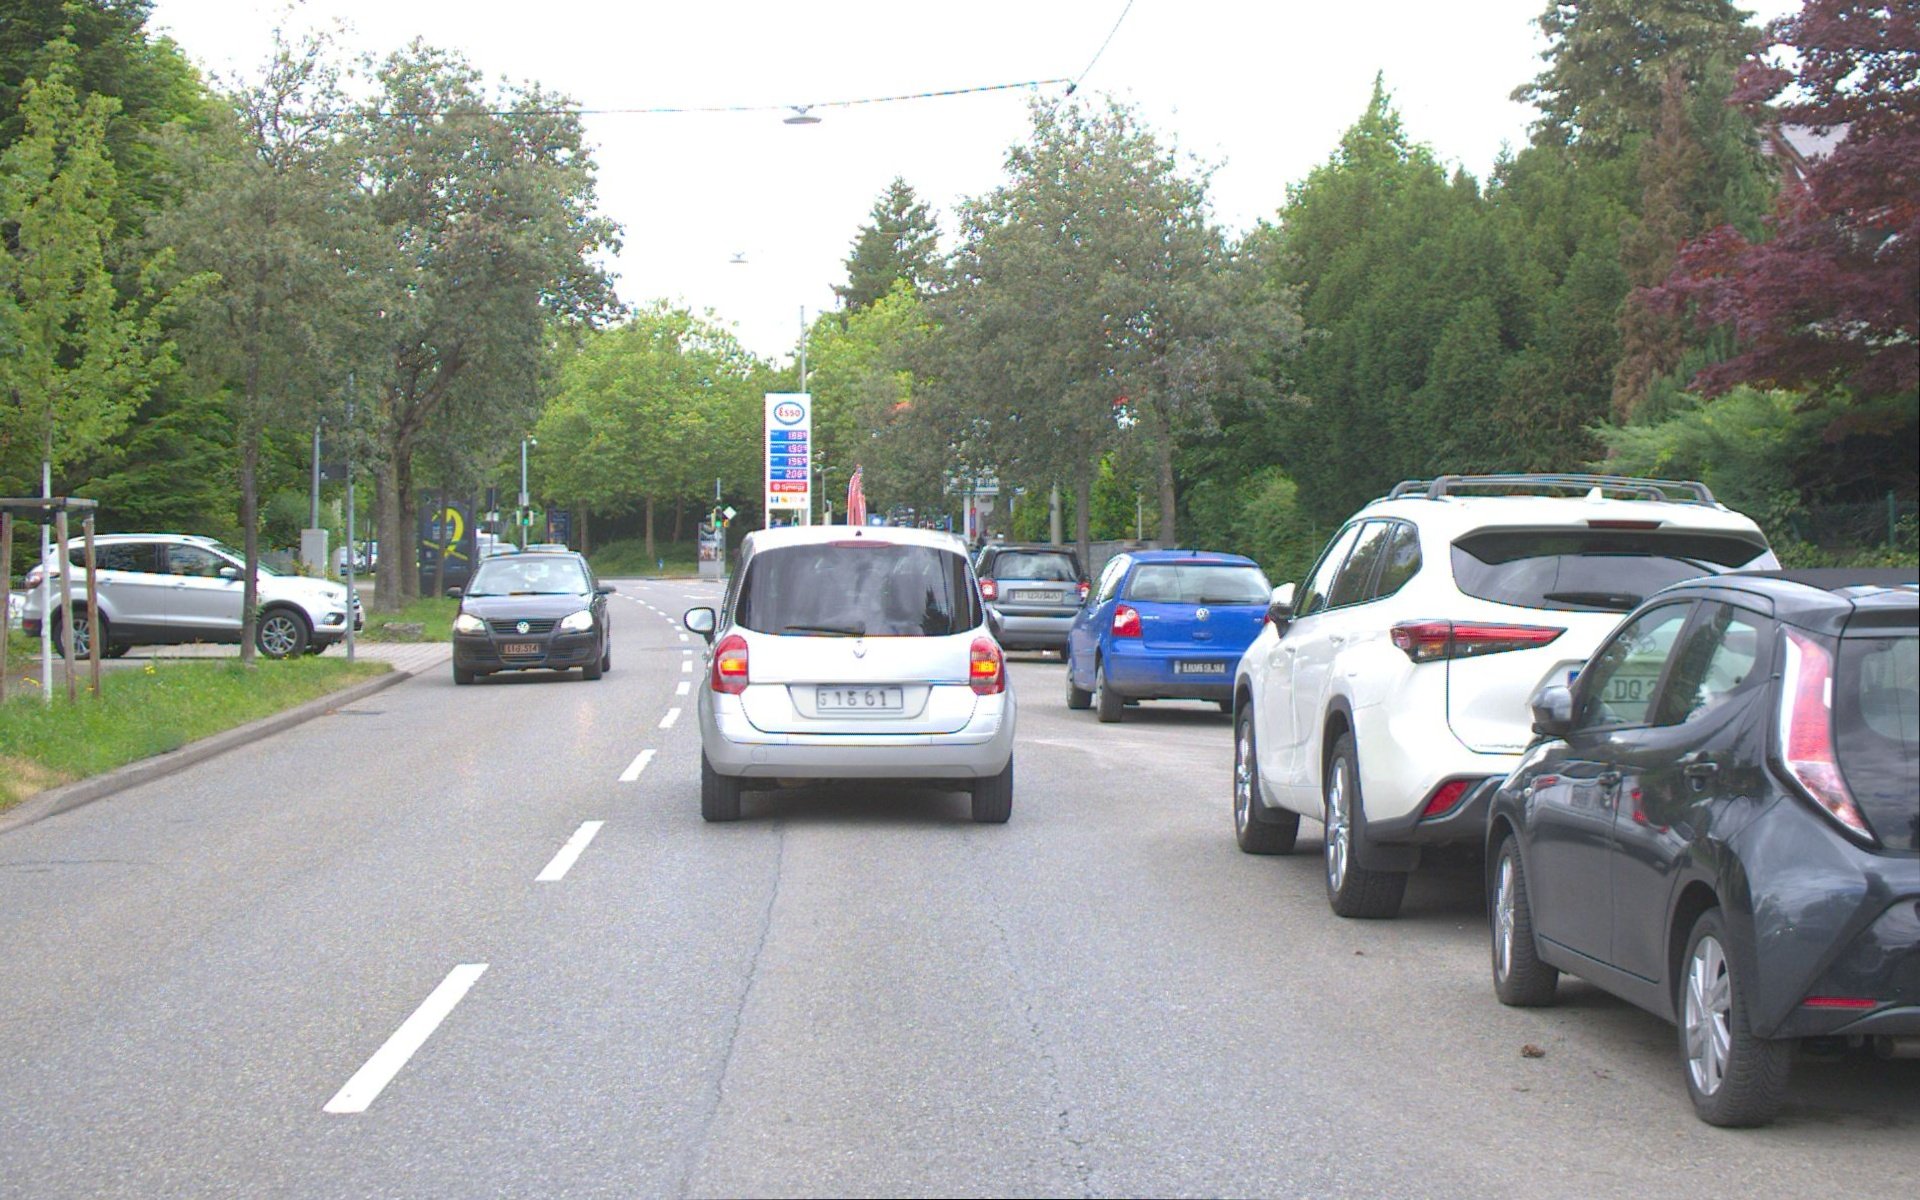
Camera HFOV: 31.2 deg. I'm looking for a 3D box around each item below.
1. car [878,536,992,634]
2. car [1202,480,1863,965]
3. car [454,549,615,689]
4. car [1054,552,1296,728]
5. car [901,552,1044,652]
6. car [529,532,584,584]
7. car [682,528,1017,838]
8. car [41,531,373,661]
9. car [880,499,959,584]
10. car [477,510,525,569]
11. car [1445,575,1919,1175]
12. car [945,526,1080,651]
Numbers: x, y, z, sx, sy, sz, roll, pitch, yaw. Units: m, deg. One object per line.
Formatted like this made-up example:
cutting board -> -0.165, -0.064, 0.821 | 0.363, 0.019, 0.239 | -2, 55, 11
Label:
car -> -0.442, -0.273, 57.107 | 1.695, 1.565, 3.956 | 0, 1, -3
car -> 2.300, 0.418, 15.133 | 1.799, 1.772, 4.706 | 1, 1, -4
car -> -4.801, 0.182, 39.114 | 1.574, 1.467, 3.471 | -2, 1, -4
car -> 1.836, 0.304, 30.399 | 1.626, 1.447, 3.876 | 0, 1, -4
car -> 0.140, -0.002, 51.437 | 1.696, 1.428, 4.341 | 0, 1, -6
car -> -11.871, -1.241, 101.108 | 1.544, 1.465, 3.743 | 1, 1, -7
car -> -0.608, 0.402, 19.218 | 1.679, 1.554, 3.512 | 1, 1, -1
car -> -10.104, -0.072, 46.317 | 4.086, 1.700, 1.747 | 0, 1, 0
car -> -1.463, -2.075, 122.402 | 2.281, 2.901, 5.280 | 1, 1, -6
car -> -18.913, -2.499, 141.722 | 1.934, 2.400, 4.001 | 0, 1, -8
car -> 2.606, 0.679, 10.272 | 1.558, 1.438, 3.507 | 1, 1, -4
car -> 0.668, -0.187, 45.863 | 1.695, 1.552, 3.956 | -1, 2, 0
